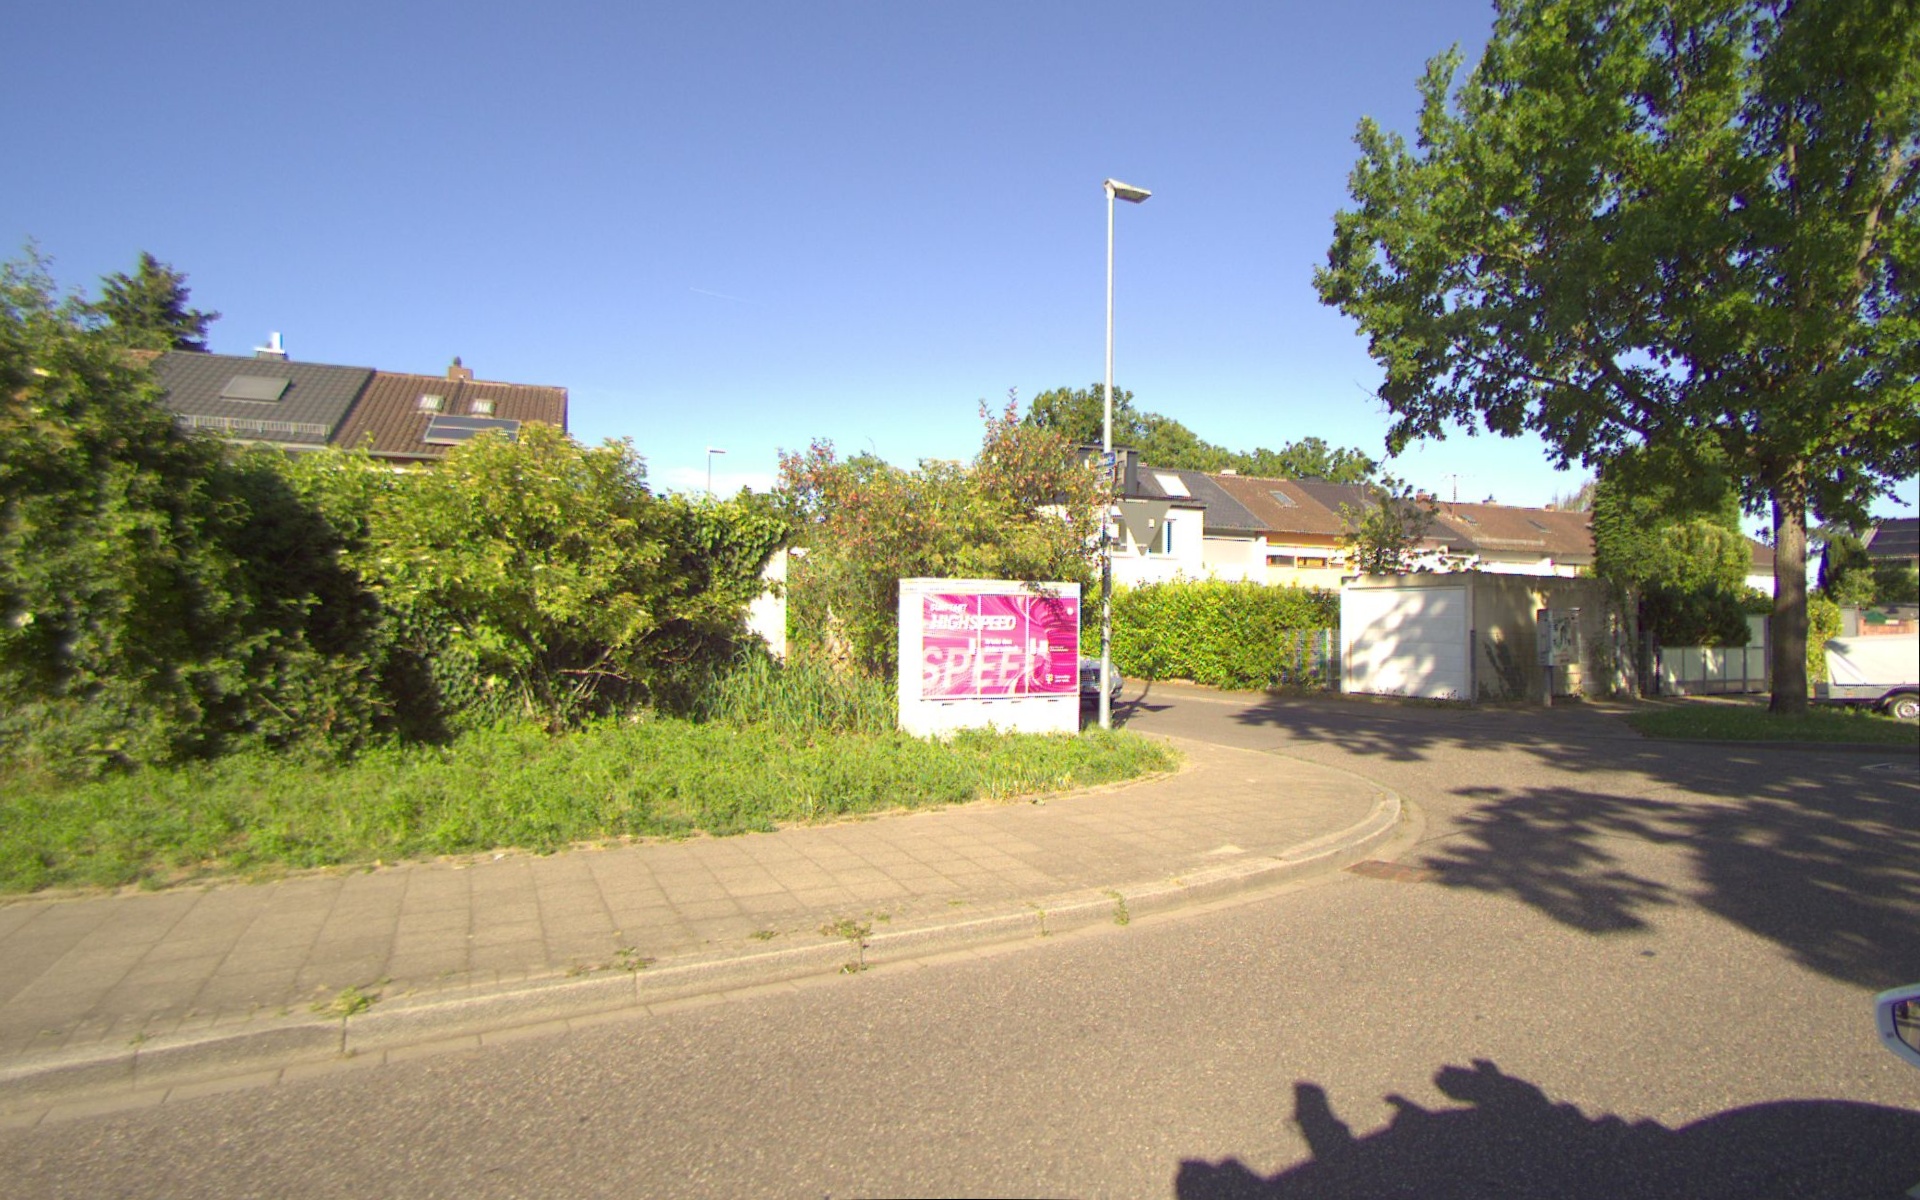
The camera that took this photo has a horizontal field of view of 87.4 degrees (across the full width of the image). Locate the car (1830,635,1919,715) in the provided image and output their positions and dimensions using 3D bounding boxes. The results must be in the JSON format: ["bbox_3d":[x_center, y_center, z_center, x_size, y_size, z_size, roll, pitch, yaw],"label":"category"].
[{"bbox_3d":[19.099,1.433,19.075,1.787,1.496,3.532,1,-2,-31],"label":"car"}]

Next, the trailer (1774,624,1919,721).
[{"bbox_3d":[16.871,1.285,18.268,1.382,1.677,2.948,1,-2,-34],"label":"trailer"}]

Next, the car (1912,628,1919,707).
[{"bbox_3d":[21.601,1.398,20.041,1.835,1.634,3.524,2,-2,-36],"label":"car"}]

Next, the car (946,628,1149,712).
[{"bbox_3d":[1.538,1.253,19.395,1.899,1.403,4.330,1,-1,-28],"label":"car"}]
